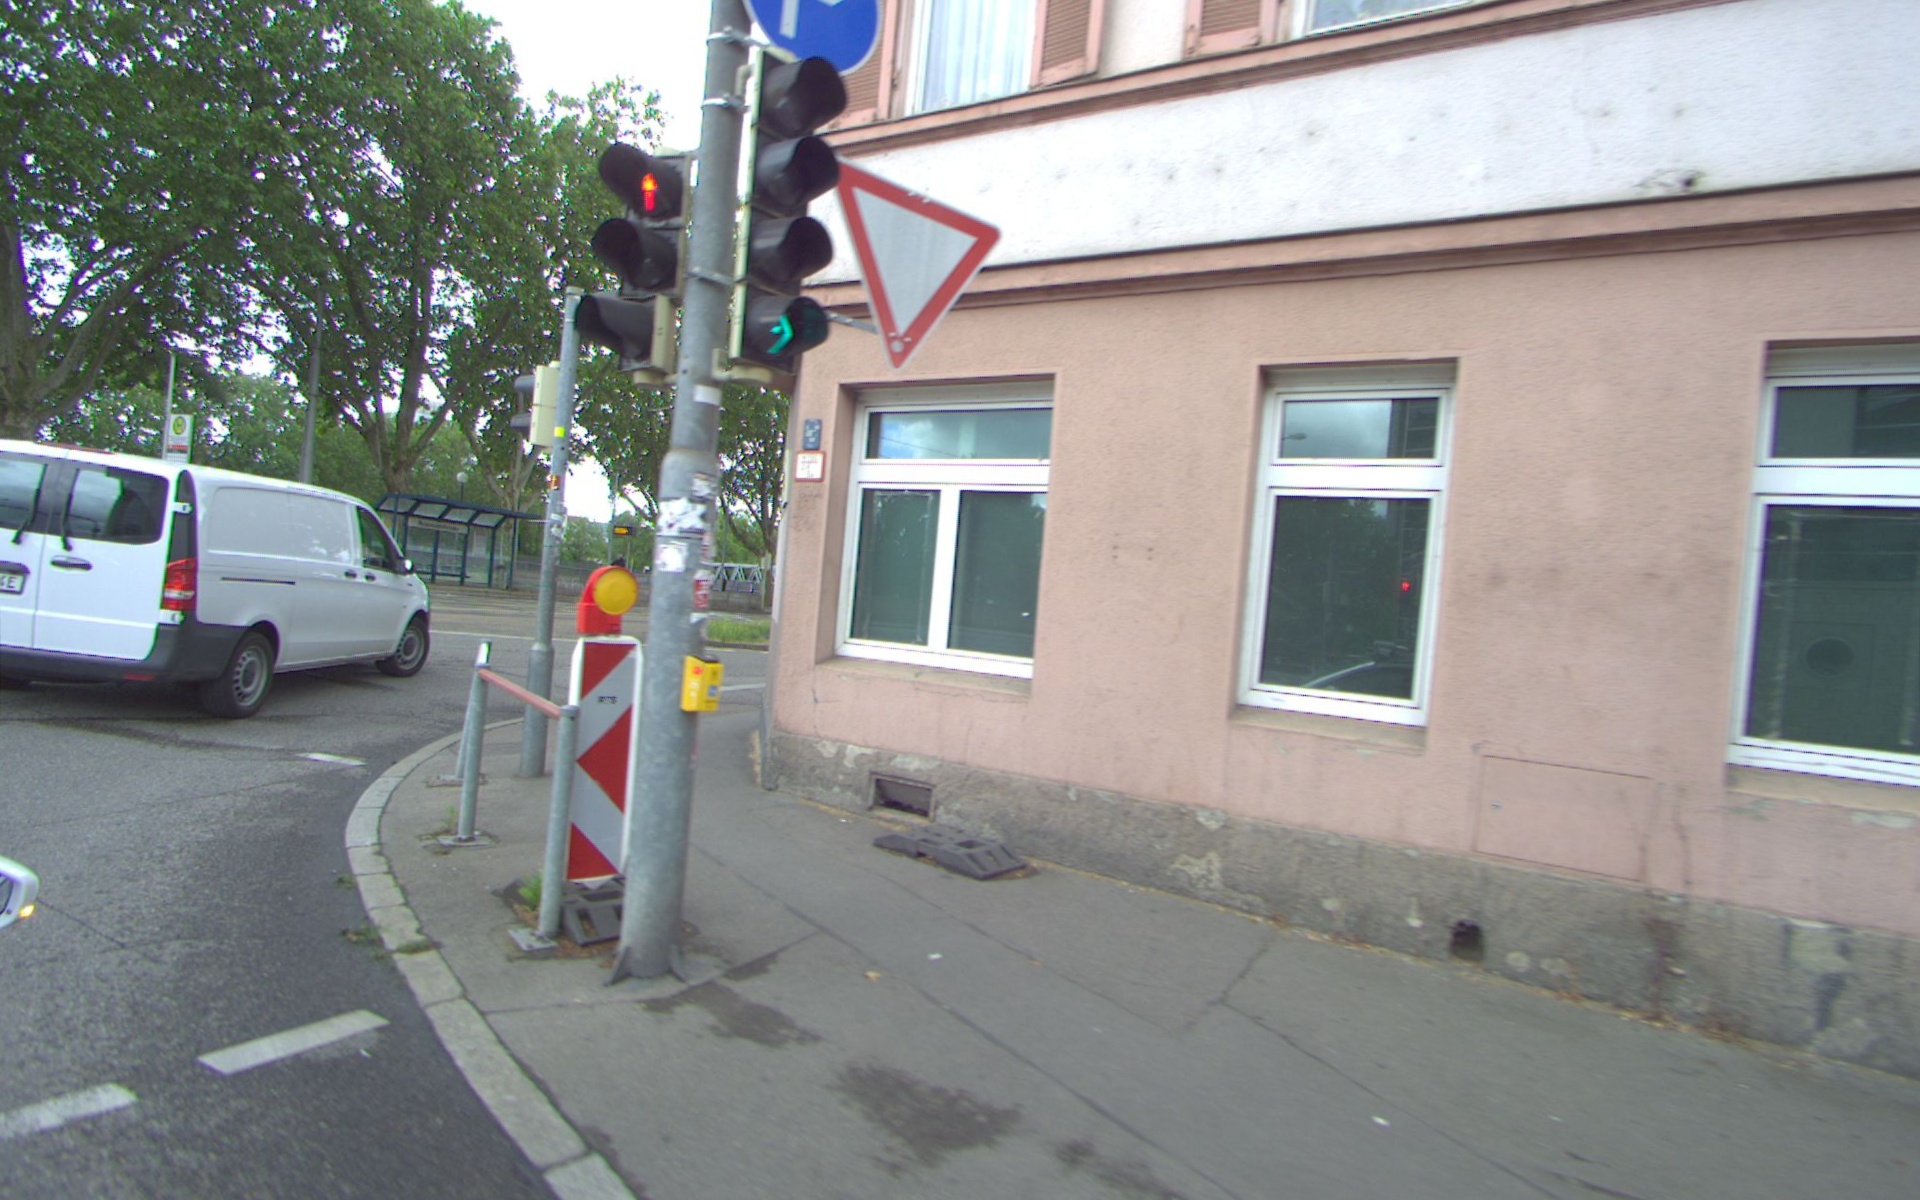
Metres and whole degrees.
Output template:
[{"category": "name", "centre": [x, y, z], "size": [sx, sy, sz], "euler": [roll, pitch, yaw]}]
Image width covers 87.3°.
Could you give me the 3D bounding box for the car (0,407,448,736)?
[{"category": "car", "centre": [-6.527, -0.197, 8.943], "size": [1.924, 2.037, 4.693], "euler": [7, -1, -9]}]
